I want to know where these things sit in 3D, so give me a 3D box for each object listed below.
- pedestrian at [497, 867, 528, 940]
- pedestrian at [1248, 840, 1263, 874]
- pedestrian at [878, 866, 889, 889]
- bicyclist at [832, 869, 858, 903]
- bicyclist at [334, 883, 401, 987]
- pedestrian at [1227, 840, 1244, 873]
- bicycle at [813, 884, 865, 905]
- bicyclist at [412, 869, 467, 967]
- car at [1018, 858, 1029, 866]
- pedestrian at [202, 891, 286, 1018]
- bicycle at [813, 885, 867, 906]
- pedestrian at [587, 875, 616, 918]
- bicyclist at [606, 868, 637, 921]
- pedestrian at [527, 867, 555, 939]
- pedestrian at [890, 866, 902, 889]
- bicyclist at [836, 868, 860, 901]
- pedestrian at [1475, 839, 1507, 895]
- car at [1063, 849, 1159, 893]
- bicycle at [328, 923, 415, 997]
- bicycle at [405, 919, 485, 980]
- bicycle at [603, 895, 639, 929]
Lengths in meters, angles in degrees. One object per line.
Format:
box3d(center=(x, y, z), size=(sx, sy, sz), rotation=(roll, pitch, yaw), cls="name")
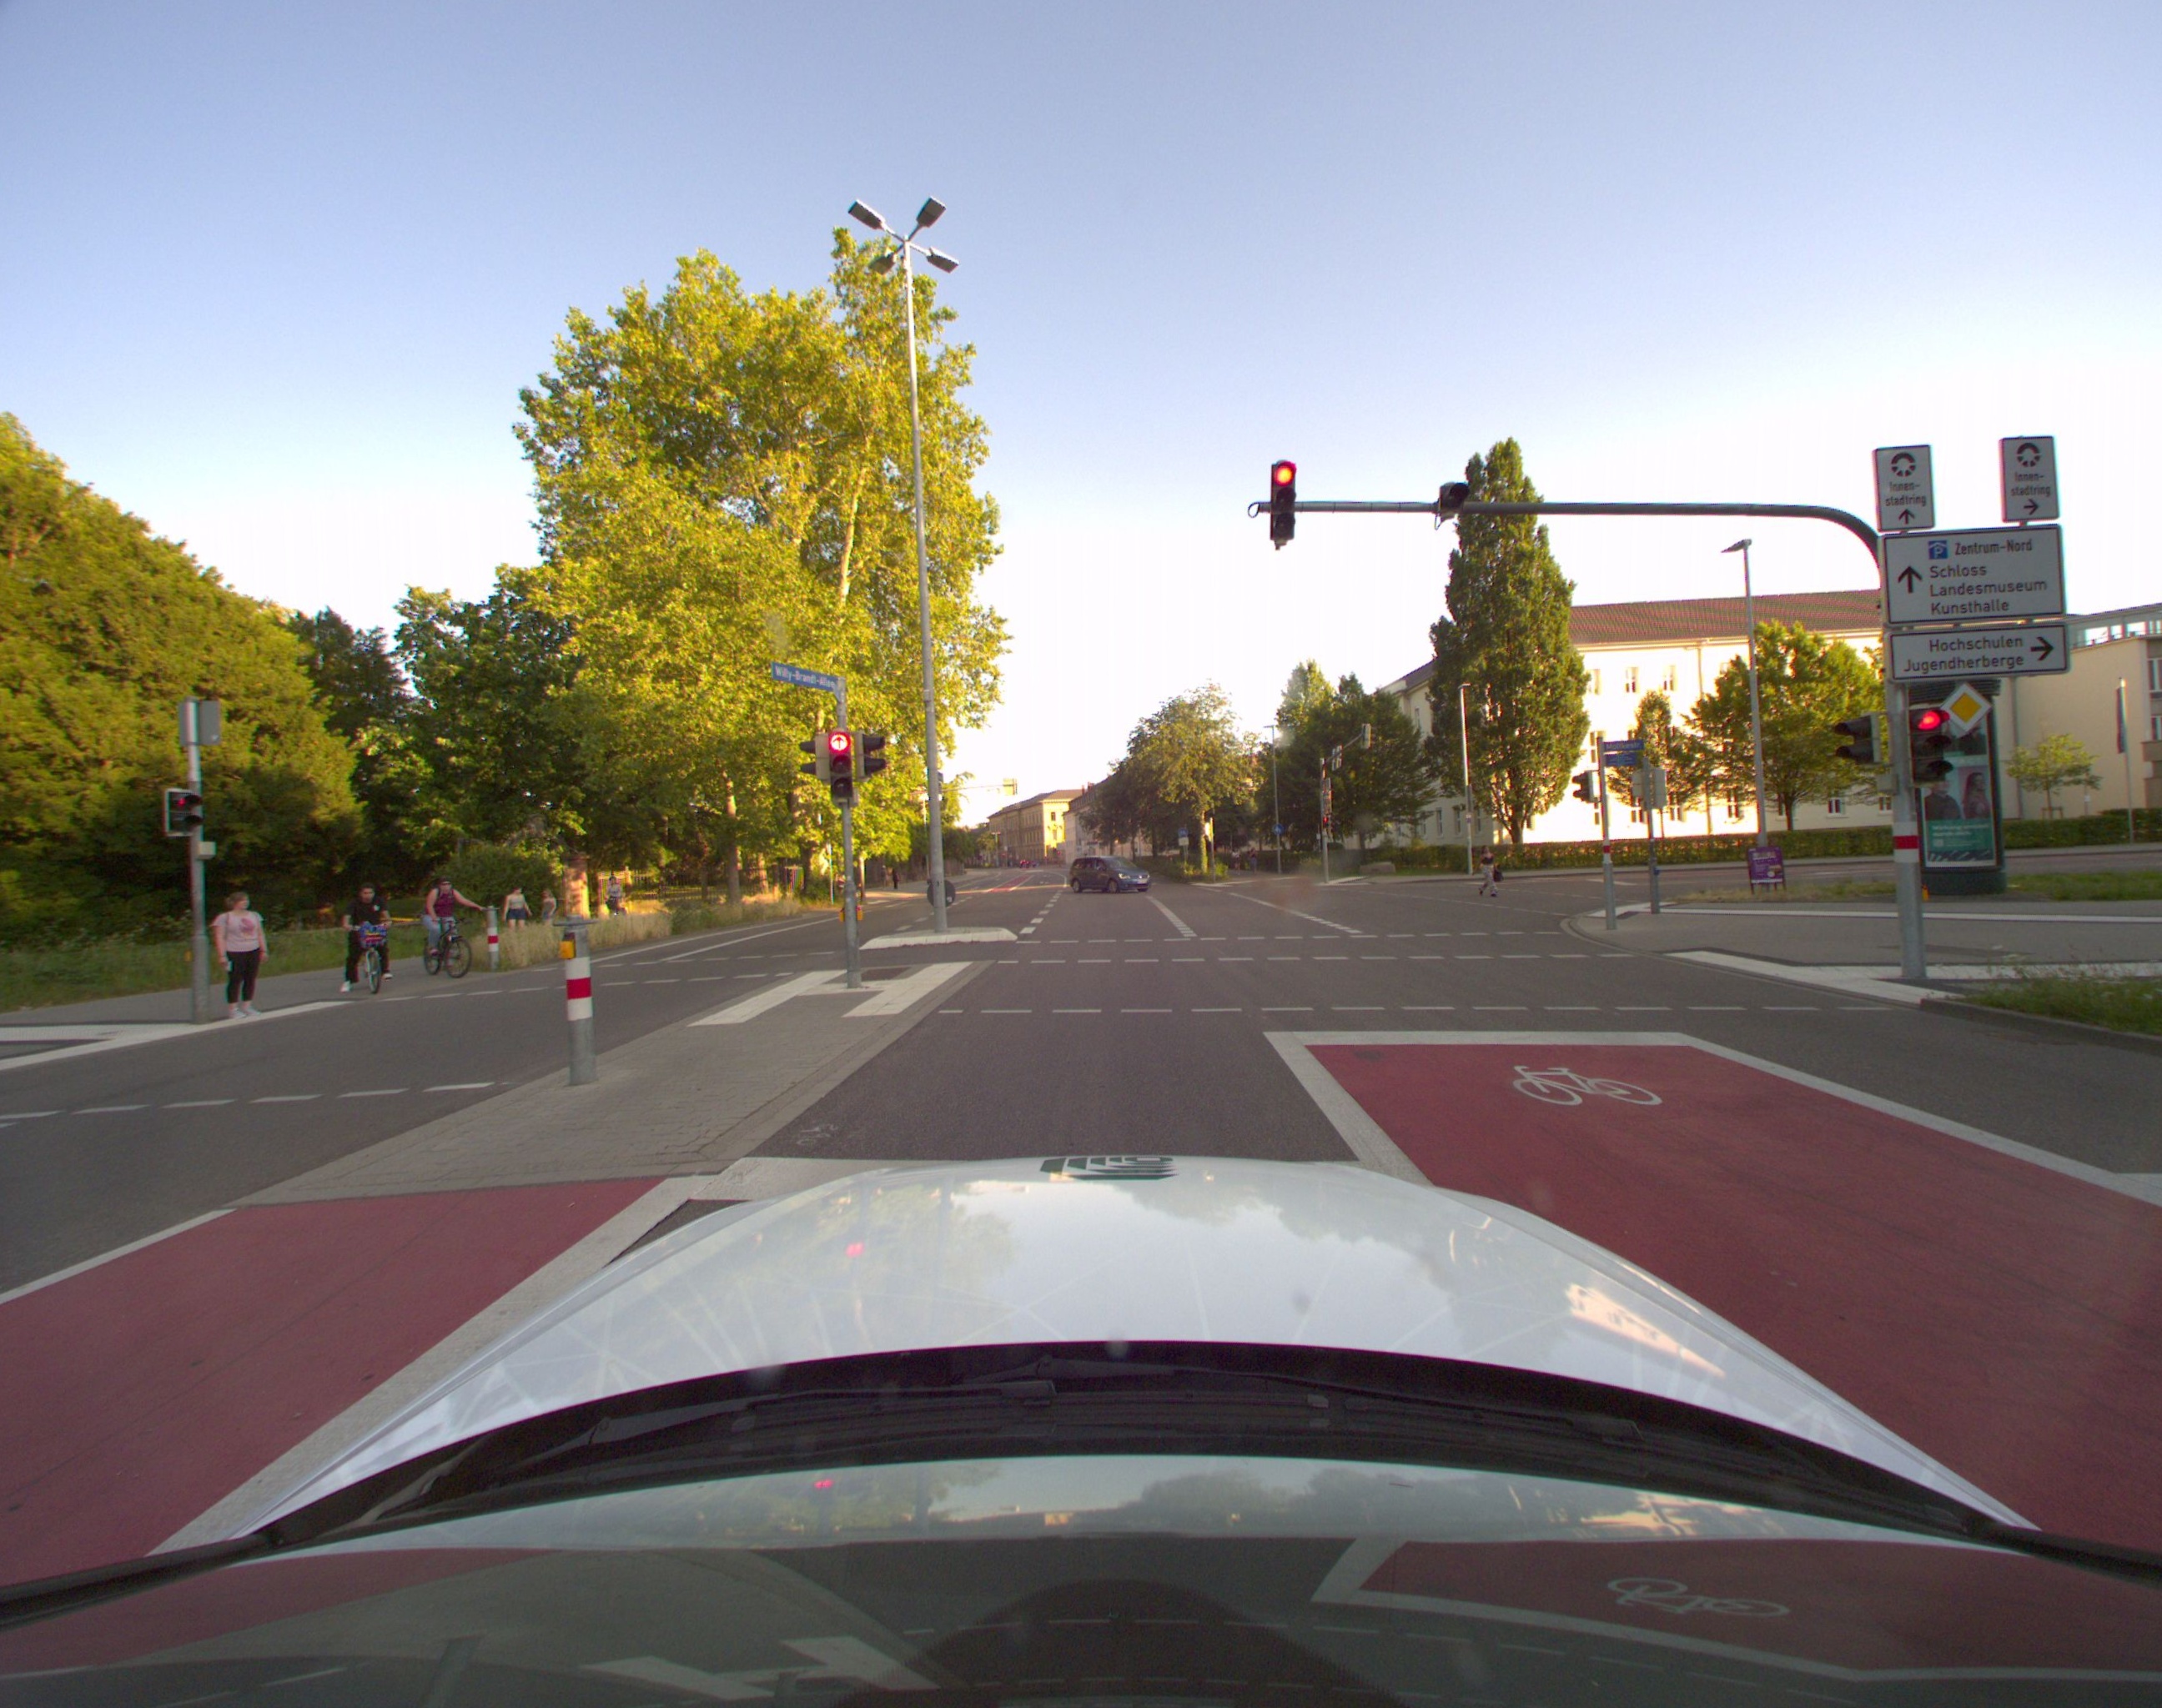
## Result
box3d(center=(-16.177, 1.402, 23.173), size=(0.654, 2.014, 0.599), rotation=(-1, -1, -37), cls="pedestrian")
box3d(center=(10.504, 0.169, 49.063), size=(0.633, 2.014, 0.720), rotation=(-2, -1, -2), cls="pedestrian")
box3d(center=(-13.912, 1.672, 57.281), size=(0.533, 1.596, 0.591), rotation=(-3, 0, 1), cls="pedestrian")
box3d(center=(-11.774, 1.577, 40.665), size=(0.954, 1.631, 0.753), rotation=(-3, 0, 2), cls="bicyclist")
box3d(center=(-11.887, 1.334, 13.565), size=(0.631, 1.649, 0.634), rotation=(-3, -1, 32), cls="bicyclist")
box3d(center=(9.435, 0.154, 49.778), size=(0.867, 2.014, 0.723), rotation=(-2, -1, 1), cls="pedestrian")
box3d(center=(-12.618, 2.114, 42.482), size=(2.420, 0.924, 0.775), rotation=(-3, 0, 2), cls="bicycle")
box3d(center=(-12.036, 1.184, 15.276), size=(0.631, 1.780, 0.580), rotation=(-3, -1, 32), cls="bicyclist")
box3d(center=(-12.044, 1.749, 170.220), size=(1.821, 1.588, 3.983), rotation=(-4, 0, -12), cls="car")
box3d(center=(-11.764, 1.398, 11.462), size=(0.604, 1.695, 0.499), rotation=(-3, 0, 3), cls="pedestrian")
box3d(center=(-12.034, 2.079, 40.674), size=(2.420, 0.924, 0.775), rotation=(-3, 0, 2), cls="bicycle")
box3d(center=(-23.131, 2.039, 39.321), size=(0.759, 2.014, 1.075), rotation=(-2, -1, -5), cls="pedestrian")
box3d(center=(-15.560, 1.365, 27.560), size=(0.761, 1.728, 0.933), rotation=(-1, -1, -38), cls="bicyclist")
box3d(center=(-15.616, 1.403, 23.535), size=(0.598, 2.014, 0.634), rotation=(-1, -1, -38), cls="pedestrian")
box3d(center=(-13.008, 1.646, 57.263), size=(0.597, 1.573, 0.646), rotation=(-3, 0, 1), cls="pedestrian")
box3d(center=(-12.132, 1.599, 42.469), size=(0.954, 1.631, 0.753), rotation=(-3, 0, 2), cls="bicyclist")
box3d(center=(12.241, 0.368, 24.328), size=(0.597, 1.636, 0.692), rotation=(-2, 0, 3), cls="pedestrian")
box3d(center=(1.241, 0.753, 35.545), size=(1.864, 1.720, 4.247), rotation=(-3, 0, -38), cls="car")
box3d(center=(-11.765, 1.724, 13.498), size=(1.548, 1.111, 0.637), rotation=(-3, 0, 32), cls="bicycle")
box3d(center=(-11.868, 1.762, 15.177), size=(1.749, 1.030, 0.583), rotation=(-3, 0, 32), cls="bicycle")
box3d(center=(-15.540, 1.931, 27.481), size=(0.745, 1.033, 2.271), rotation=(-1, 0, -37), cls="bicycle")
